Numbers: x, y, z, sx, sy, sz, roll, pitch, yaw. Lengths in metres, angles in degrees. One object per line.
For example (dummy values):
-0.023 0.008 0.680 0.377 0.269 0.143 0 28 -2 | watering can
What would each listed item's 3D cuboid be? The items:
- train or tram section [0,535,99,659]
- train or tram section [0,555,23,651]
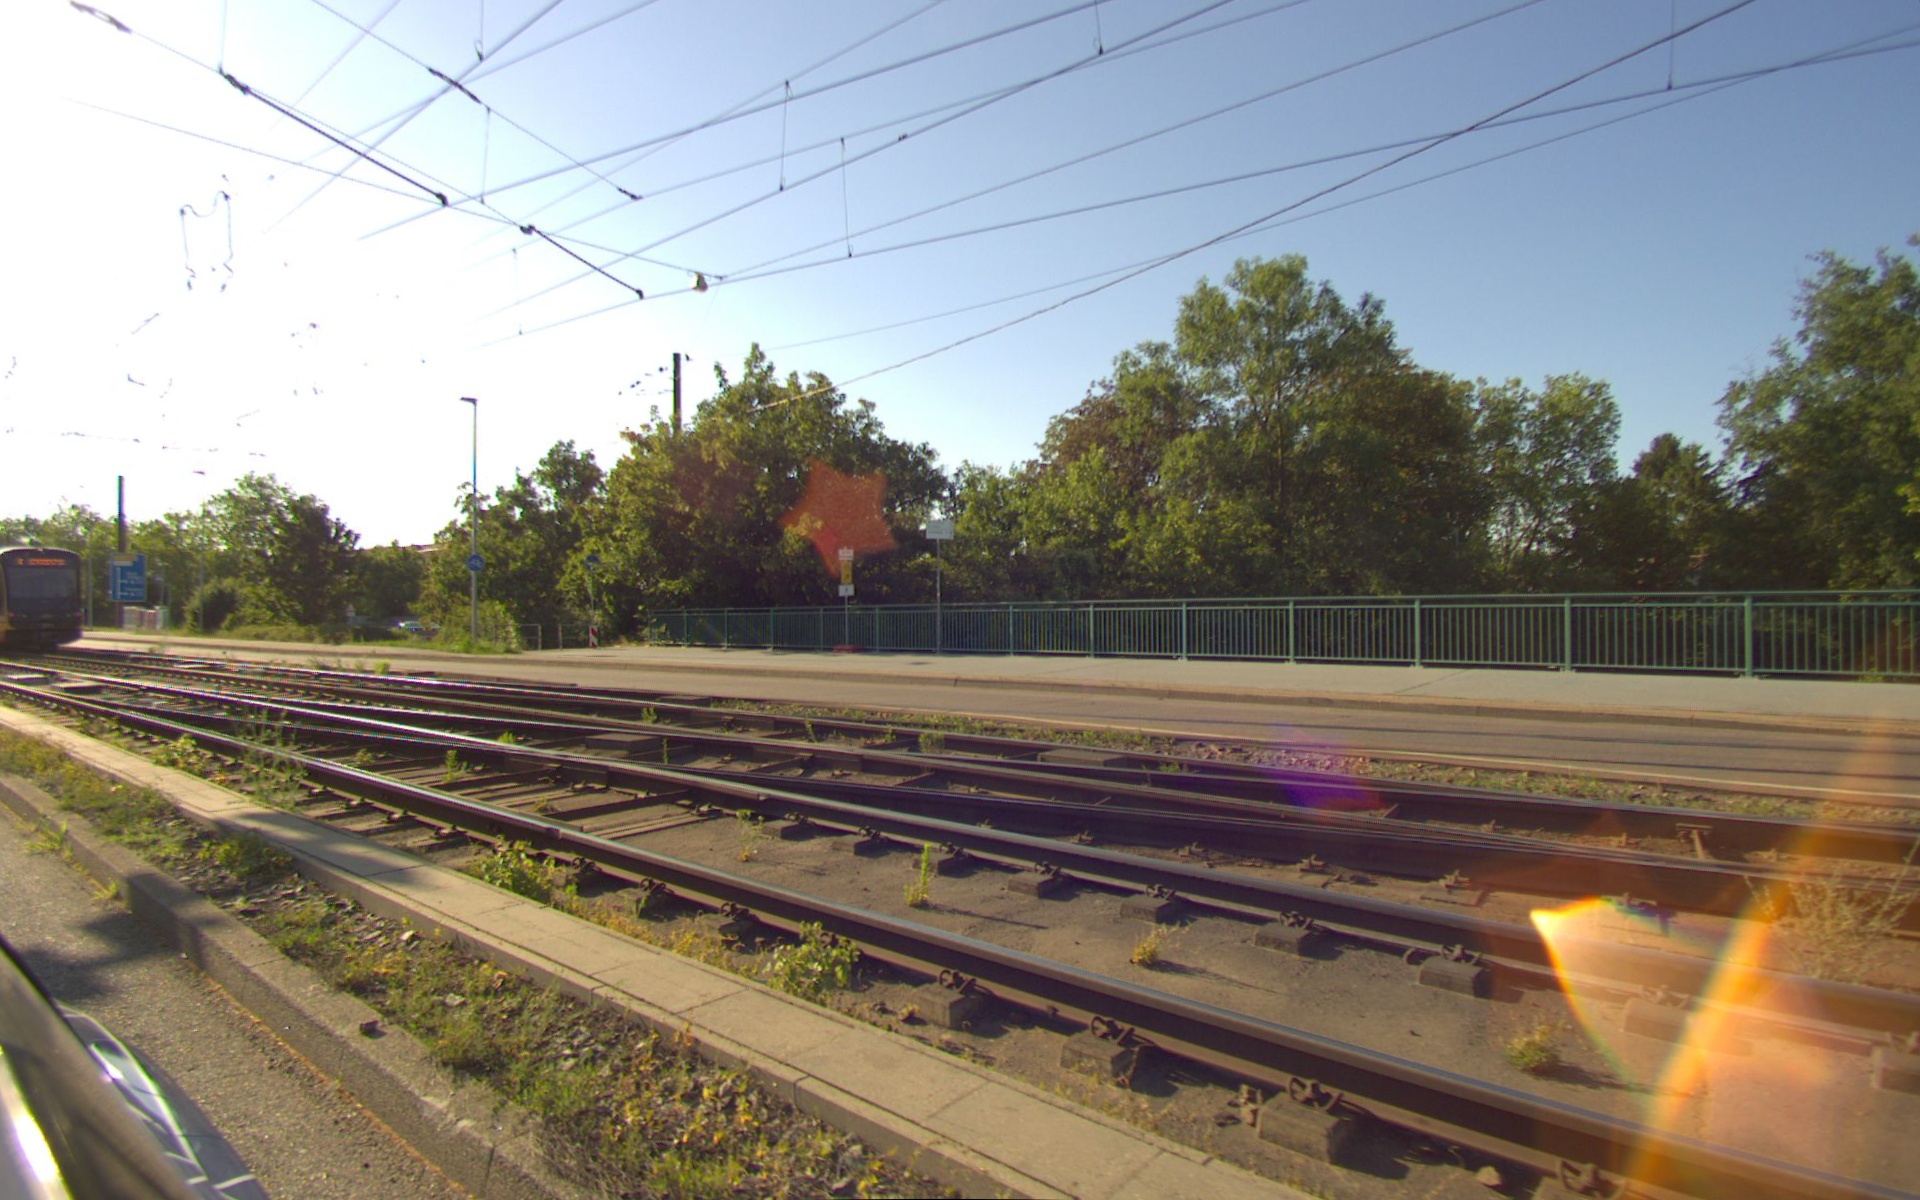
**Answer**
-34.874 -0.002 36.906 12.685 3.930 2.949 -1 -1 39 | train or tram section
-44.330 0.188 44.478 11.650 3.930 2.948 -1 -1 39 | train or tram section
